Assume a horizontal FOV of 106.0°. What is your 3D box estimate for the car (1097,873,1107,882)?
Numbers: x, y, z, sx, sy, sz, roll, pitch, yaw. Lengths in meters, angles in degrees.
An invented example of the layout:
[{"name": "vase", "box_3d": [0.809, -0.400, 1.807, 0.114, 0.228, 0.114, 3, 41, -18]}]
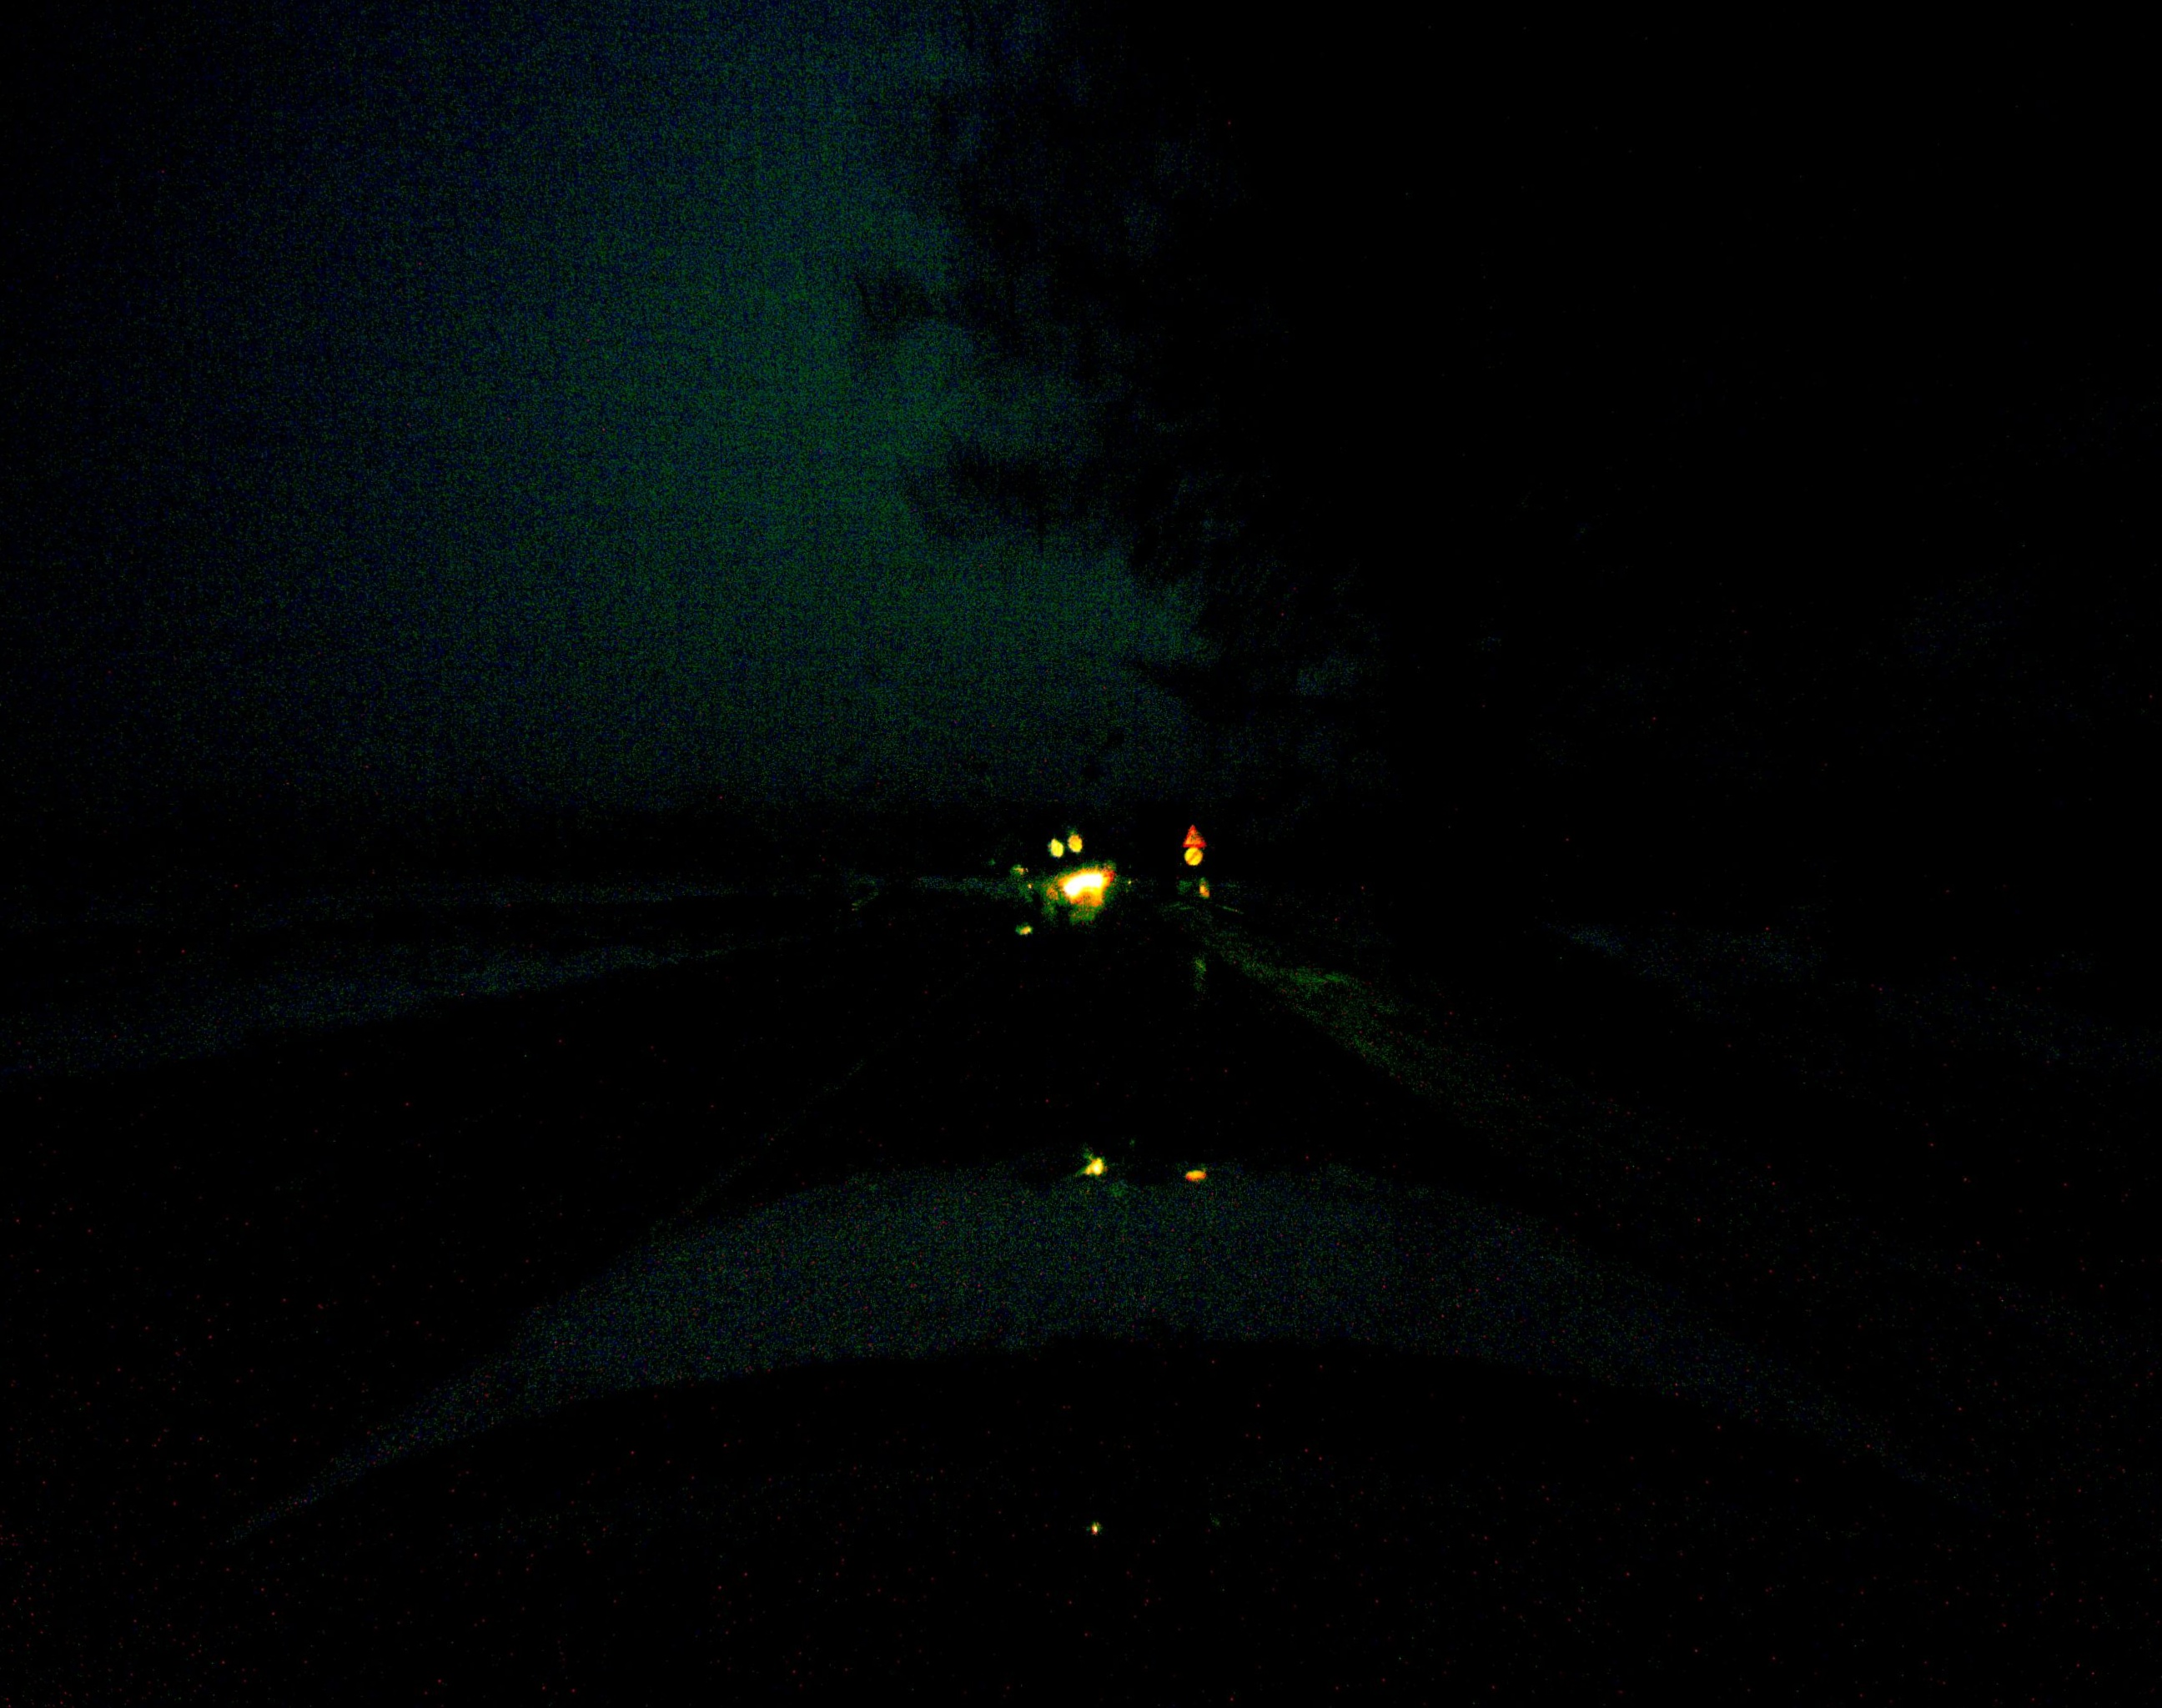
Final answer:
[{"name": "car", "box_3d": [3.958, 4.468, 154.776, 1.684, 1.552, 3.861, -1, 0, 5]}]
